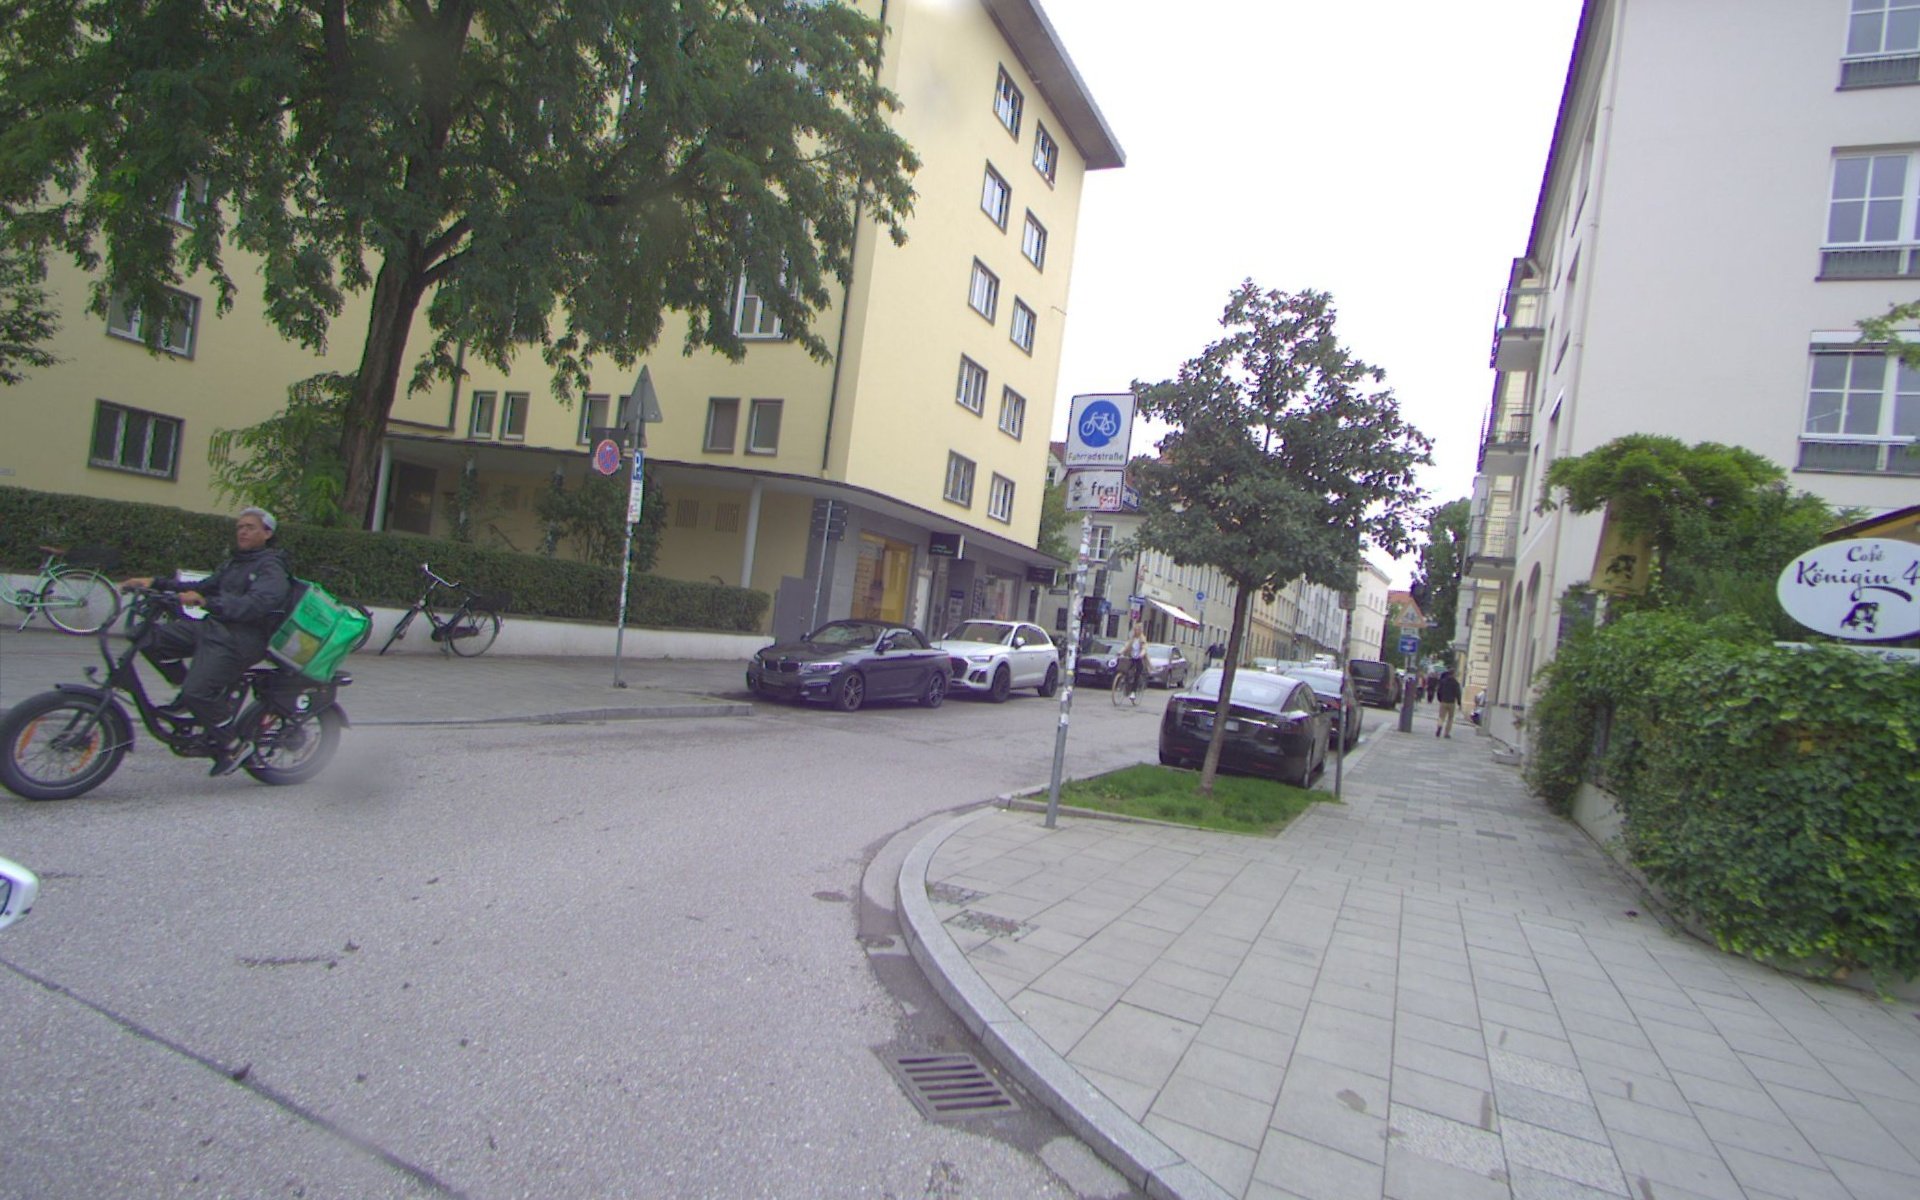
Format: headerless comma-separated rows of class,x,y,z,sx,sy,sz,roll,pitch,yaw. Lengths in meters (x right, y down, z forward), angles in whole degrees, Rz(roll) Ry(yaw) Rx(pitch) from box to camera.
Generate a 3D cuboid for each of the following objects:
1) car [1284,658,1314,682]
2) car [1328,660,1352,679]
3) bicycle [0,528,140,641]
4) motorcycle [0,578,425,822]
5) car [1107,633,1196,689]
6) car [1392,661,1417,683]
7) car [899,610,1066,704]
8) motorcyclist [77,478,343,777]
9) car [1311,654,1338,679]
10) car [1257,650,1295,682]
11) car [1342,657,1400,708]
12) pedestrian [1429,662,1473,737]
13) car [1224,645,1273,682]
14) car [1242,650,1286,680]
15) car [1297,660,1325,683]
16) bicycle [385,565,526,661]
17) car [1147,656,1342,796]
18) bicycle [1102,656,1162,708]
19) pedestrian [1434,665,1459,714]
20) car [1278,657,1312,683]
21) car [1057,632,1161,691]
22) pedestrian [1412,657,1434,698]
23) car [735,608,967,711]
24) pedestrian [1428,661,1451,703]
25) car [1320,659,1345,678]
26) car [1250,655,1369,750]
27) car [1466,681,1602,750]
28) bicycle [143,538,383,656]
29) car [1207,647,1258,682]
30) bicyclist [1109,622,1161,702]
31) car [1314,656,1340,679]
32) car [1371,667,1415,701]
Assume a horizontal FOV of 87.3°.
car,23.821,4.890,70.614,1.662,1.426,3.501,7,0,23
car,37.654,6.907,99.697,1.743,1.616,3.997,8,0,25
bicycle,-10.084,-0.199,10.736,1.922,1.098,0.526,6,0,-22
motorcycle,-4.277,0.549,5.745,0.707,1.111,1.973,7,-1,33
car,6.473,2.061,33.661,1.793,1.548,3.998,7,-1,26
car,36.604,5.935,82.906,1.673,1.526,3.997,7,0,24
car,0.604,1.181,21.444,1.826,1.682,4.315,4,-1,26
motorcyclist,-4.245,0.158,5.724,0.702,1.519,0.897,7,0,33
car,29.211,5.323,80.559,1.757,1.682,4.000,7,-1,23
car,19.486,4.088,61.966,1.757,1.682,4.000,7,-1,23
car,17.236,3.457,42.056,1.787,1.796,3.997,7,-1,26
pedestrian,12.257,2.478,25.140,0.774,1.735,0.831,7,0,26
car,15.458,3.429,53.781,1.758,1.682,3.999,7,-1,25
car,17.475,3.777,57.708,1.758,1.431,3.999,7,-1,25
car,26.149,5.286,74.860,1.662,1.426,3.501,7,0,23
bicycle,-6.798,0.208,13.639,0.452,1.144,1.687,7,-1,25
car,4.227,1.679,14.377,1.934,1.415,4.504,7,-1,24
bicycle,3.881,1.834,22.545,0.673,1.036,1.966,7,-1,27
pedestrian,21.260,3.887,43.934,0.743,2.038,0.831,7,0,26
car,22.174,4.589,66.523,1.662,1.426,3.998,7,0,23
car,4.498,1.866,29.909,1.794,1.417,3.998,7,-1,26
pedestrian,24.294,4.058,52.835,0.774,2.038,0.832,7,0,21
car,-1.624,1.024,16.683,1.634,1.383,4.330,4,-3,27
pedestrian,25.027,4.276,52.486,0.774,2.038,0.832,7,0,21
car,34.964,6.431,94.411,1.674,1.526,3.996,7,0,26
car,7.370,2.090,20.972,1.693,1.548,3.997,7,-1,27
car,17.616,3.518,31.037,3.421,1.548,1.575,7,0,28
bicycle,-8.165,-0.001,11.890,0.632,1.129,2.165,7,-1,42
car,13.398,3.197,49.324,1.711,1.439,3.999,7,-1,24
bicyclist,3.916,1.395,22.494,0.684,1.676,1.006,7,0,27
car,31.091,5.747,85.118,1.757,1.682,4.000,7,-1,23
car,23.826,4.570,55.298,1.798,1.536,4.236,7,0,27
